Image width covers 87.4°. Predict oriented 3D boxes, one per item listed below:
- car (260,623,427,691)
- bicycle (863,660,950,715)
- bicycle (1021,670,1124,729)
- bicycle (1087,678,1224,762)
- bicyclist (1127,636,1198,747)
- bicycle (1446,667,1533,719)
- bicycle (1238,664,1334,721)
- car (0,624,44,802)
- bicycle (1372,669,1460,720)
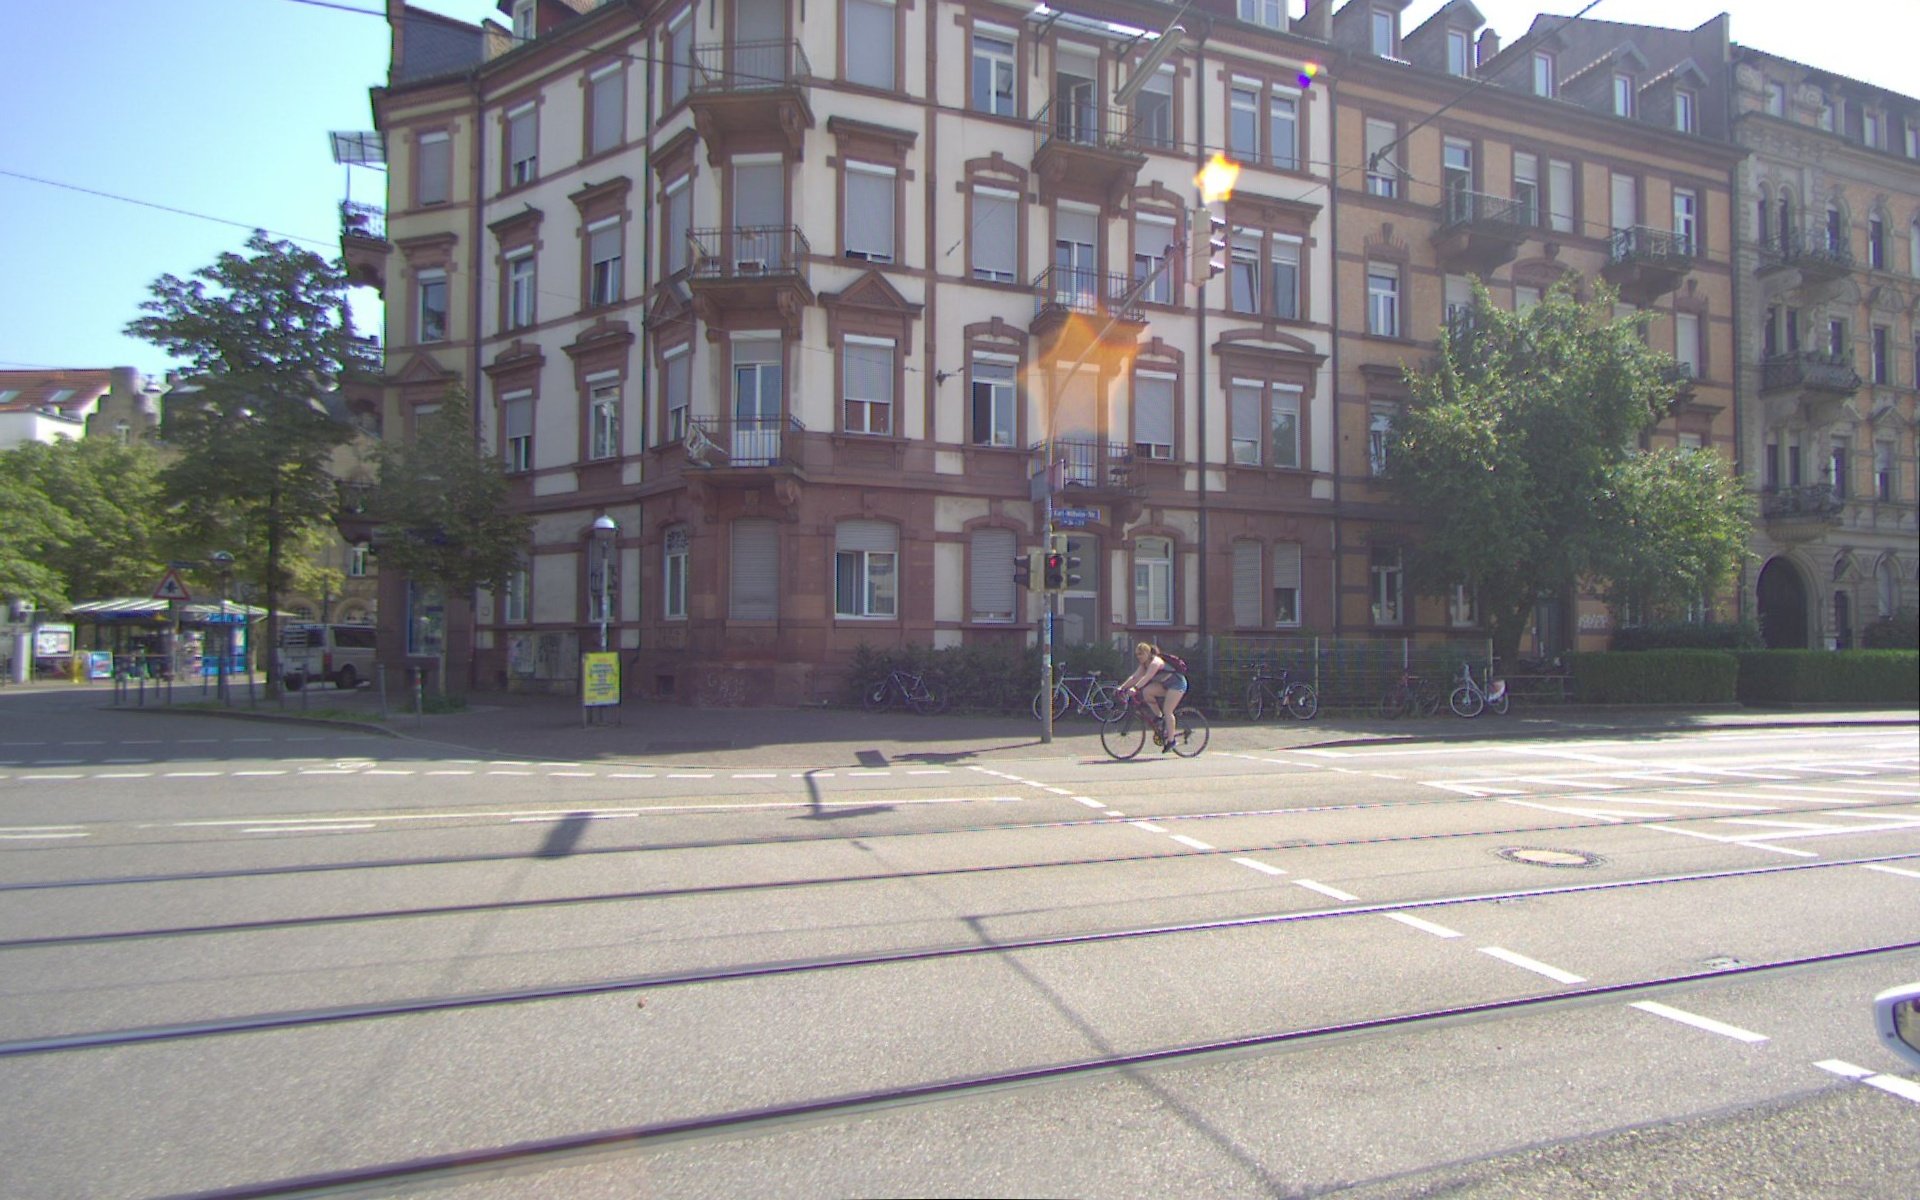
[{"bbox_3d":[-20.012,1.835,32.931,2.123,2.040,5.031,0,-2,3],"label":"car"},{"bbox_3d":[-1.032,1.670,19.362,1.646,1.010,0.395,-1,-2,19],"label":"bicycle"},{"bbox_3d":[2.040,1.792,18.284,1.794,1.010,0.489,-1,-2,19],"label":"bicycle"},{"bbox_3d":[2.705,1.630,13.867,1.815,1.080,0.580,1,-3,-20],"label":"bicycle"},{"bbox_3d":[2.801,1.252,13.915,0.764,1.489,0.580,1,-3,-19],"label":"bicyclist"},{"bbox_3d":[10.496,1.827,19.909,1.630,0.999,0.487,1,-2,-16],"label":"bicycle"},{"bbox_3d":[6.098,1.719,18.786,1.749,1.035,0.487,1,-2,-16],"label":"bicycle"},{"bbox_3d":[-11.050,0.997,8.365,4.557,1.669,1.993,1,-4,-18],"label":"car"},{"bbox_3d":[8.852,1.825,19.495,1.630,0.954,0.487,1,-2,-16],"label":"bicycle"}]
